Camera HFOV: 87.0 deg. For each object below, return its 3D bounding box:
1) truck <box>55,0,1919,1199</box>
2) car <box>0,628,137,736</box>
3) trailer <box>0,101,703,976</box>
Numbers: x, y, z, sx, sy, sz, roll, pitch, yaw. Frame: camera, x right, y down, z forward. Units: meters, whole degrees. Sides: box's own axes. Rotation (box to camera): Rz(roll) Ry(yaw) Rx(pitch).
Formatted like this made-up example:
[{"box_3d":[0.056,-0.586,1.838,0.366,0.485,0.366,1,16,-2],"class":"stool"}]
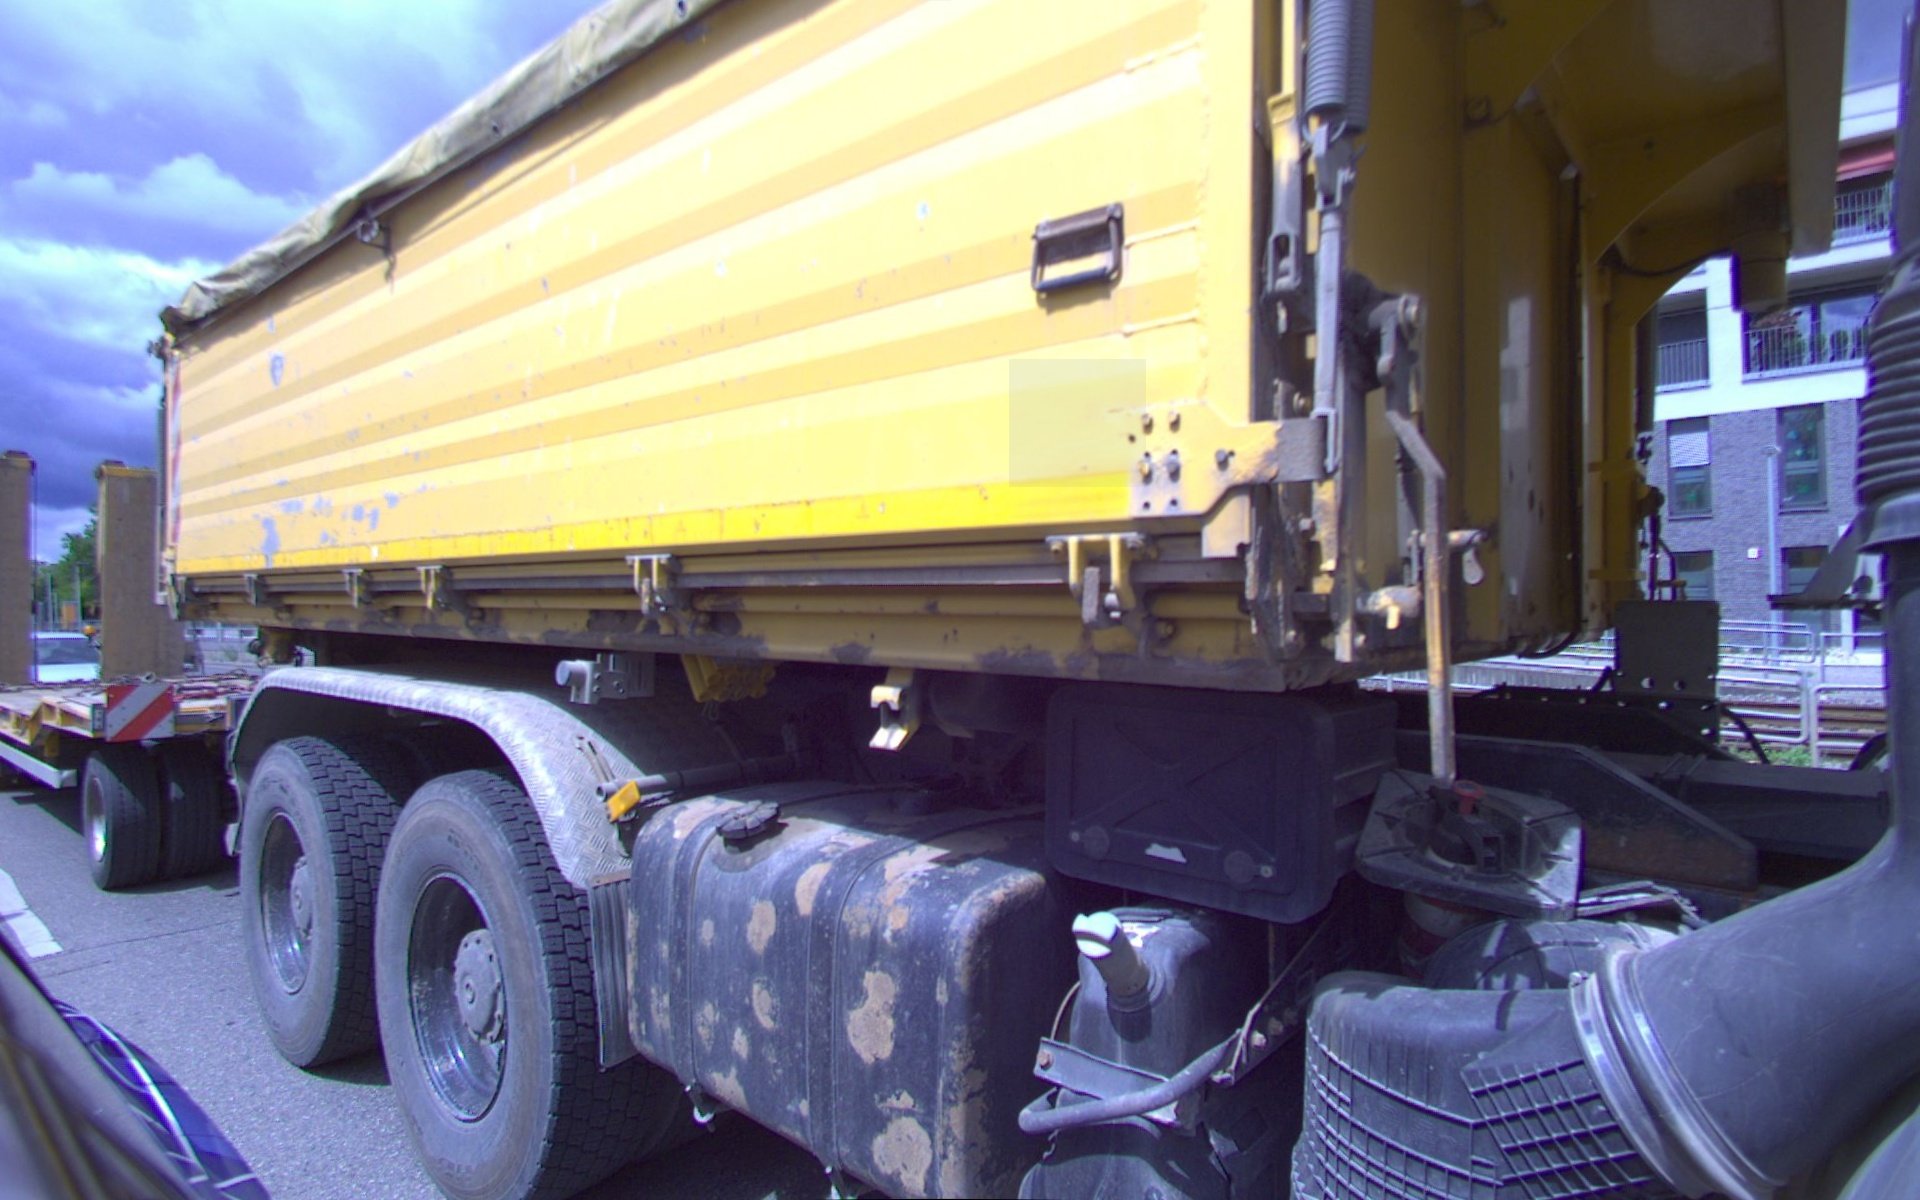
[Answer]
[{"box_3d":[0.158,-0.227,2.908,7.999,3.420,3.019,-2,-1,40],"class":"truck"},{"box_3d":[-14.006,1.168,15.351,3.784,1.427,1.761,-2,-1,41],"class":"car"},{"box_3d":[-6.853,-0.143,9.016,10.957,3.726,3.018,-2,-1,40],"class":"trailer"}]
